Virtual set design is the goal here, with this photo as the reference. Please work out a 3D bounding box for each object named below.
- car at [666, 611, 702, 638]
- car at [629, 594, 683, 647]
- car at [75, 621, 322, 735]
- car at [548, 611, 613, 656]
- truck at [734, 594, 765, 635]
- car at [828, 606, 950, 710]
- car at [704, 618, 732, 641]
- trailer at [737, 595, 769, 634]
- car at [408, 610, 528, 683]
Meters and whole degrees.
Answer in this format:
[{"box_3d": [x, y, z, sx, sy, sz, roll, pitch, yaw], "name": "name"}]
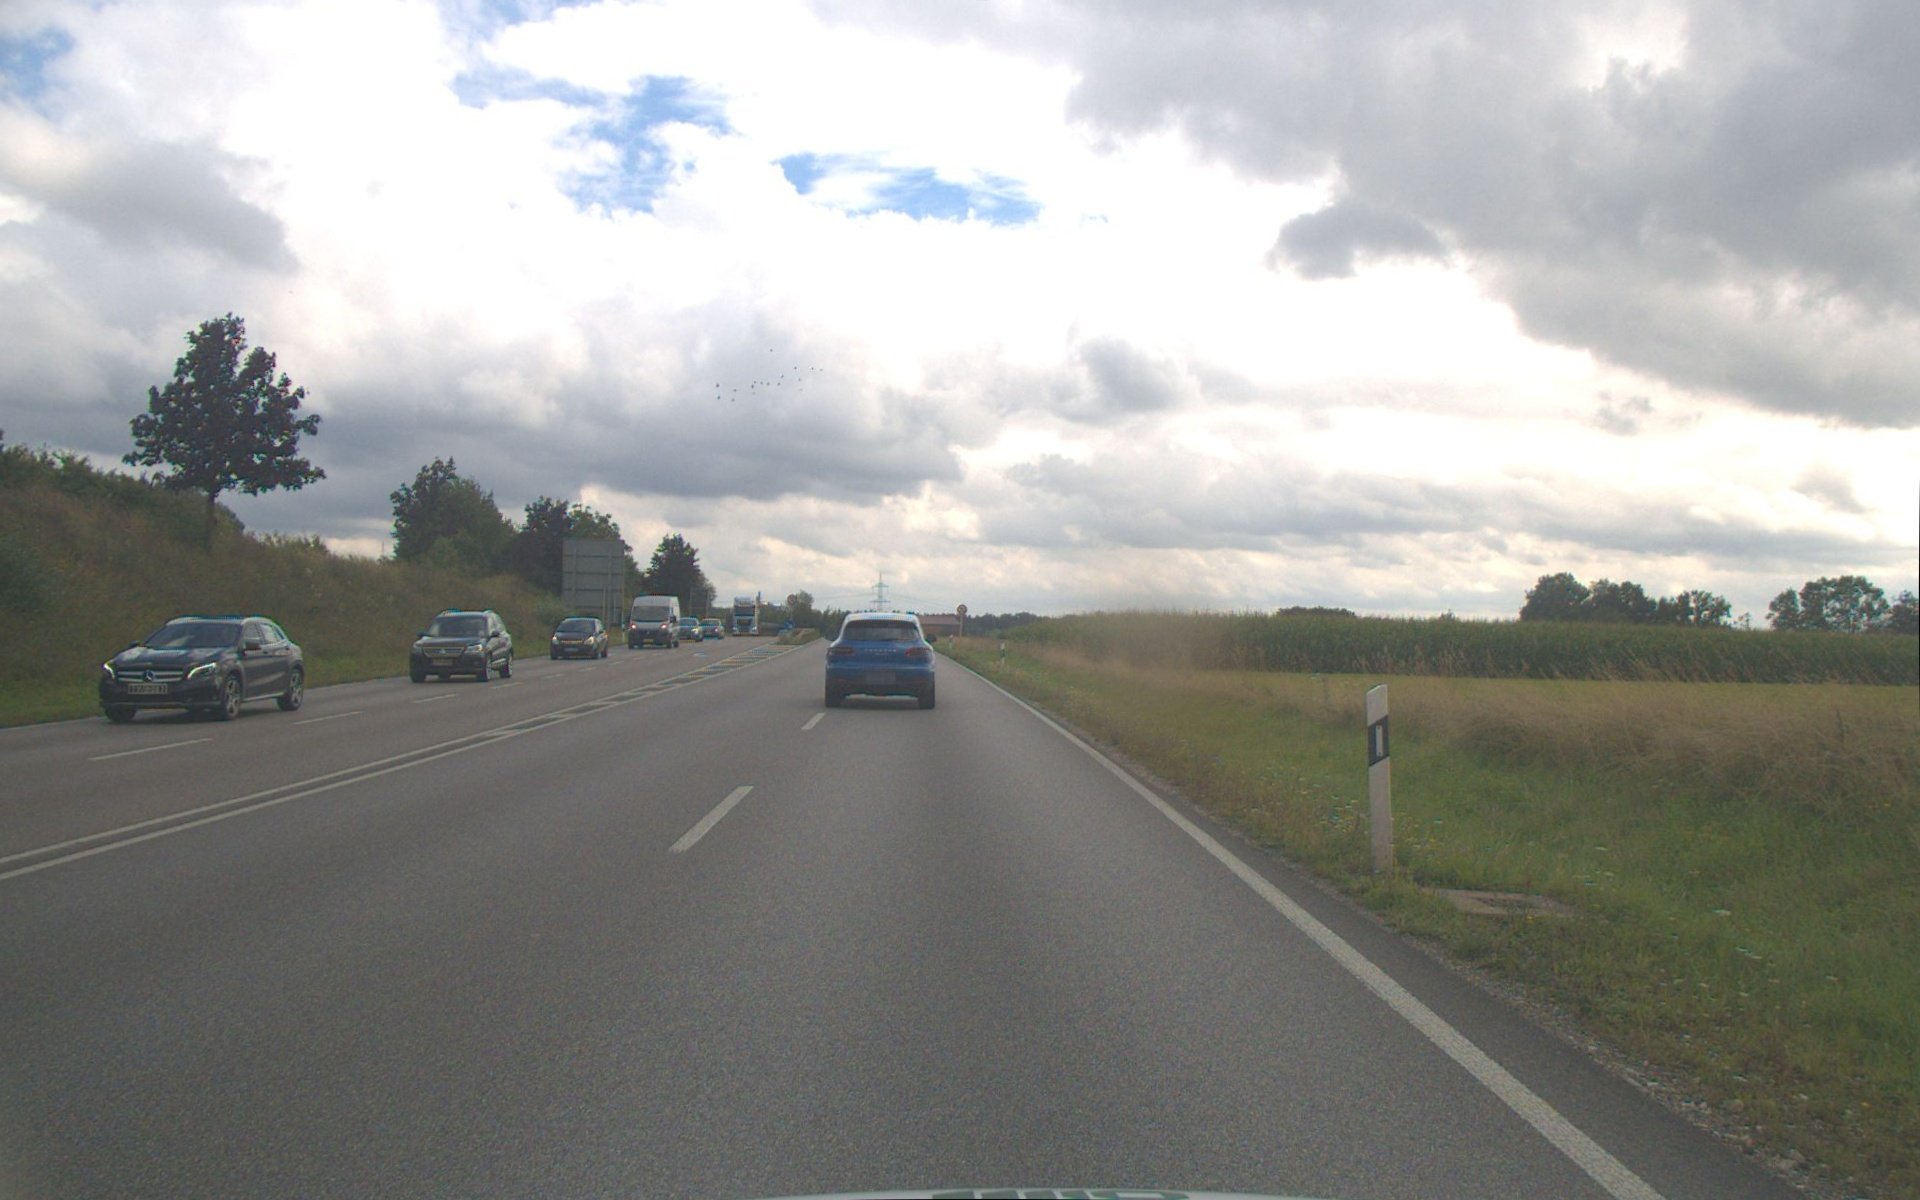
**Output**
[{"box_3d": [-16.526, 1.458, 99.263, 1.698, 1.557, 4.544, 0, 0, -4], "name": "car"}, {"box_3d": [-14.750, 0.965, 80.517, 1.993, 2.482, 5.630, 0, 0, -4], "name": "car"}, {"box_3d": [-11.603, 1.132, 25.595, 1.758, 1.538, 4.703, 1, 0, -2], "name": "car"}, {"box_3d": [-13.902, 1.195, 60.830, 1.698, 1.557, 4.190, 0, 0, -4], "name": "car"}, {"box_3d": [-21.717, 1.483, 170.529, 2.747, 4.067, 5.282, 2, 0, -4], "name": "truck"}, {"box_3d": [-1.323, 0.995, 29.556, 1.993, 1.690, 4.539, 1, -1, -4], "name": "car"}, {"box_3d": [-17.130, 2.090, 117.128, 1.698, 1.557, 4.190, 0, 0, -4], "name": "car"}, {"box_3d": [-22.257, 1.542, 178.341, 2.721, 4.016, 12.973, 2, 0, -4], "name": "trailer"}, {"box_3d": [-12.114, 1.098, 40.998, 1.758, 1.663, 4.514, -1, 0, -2], "name": "car"}]
